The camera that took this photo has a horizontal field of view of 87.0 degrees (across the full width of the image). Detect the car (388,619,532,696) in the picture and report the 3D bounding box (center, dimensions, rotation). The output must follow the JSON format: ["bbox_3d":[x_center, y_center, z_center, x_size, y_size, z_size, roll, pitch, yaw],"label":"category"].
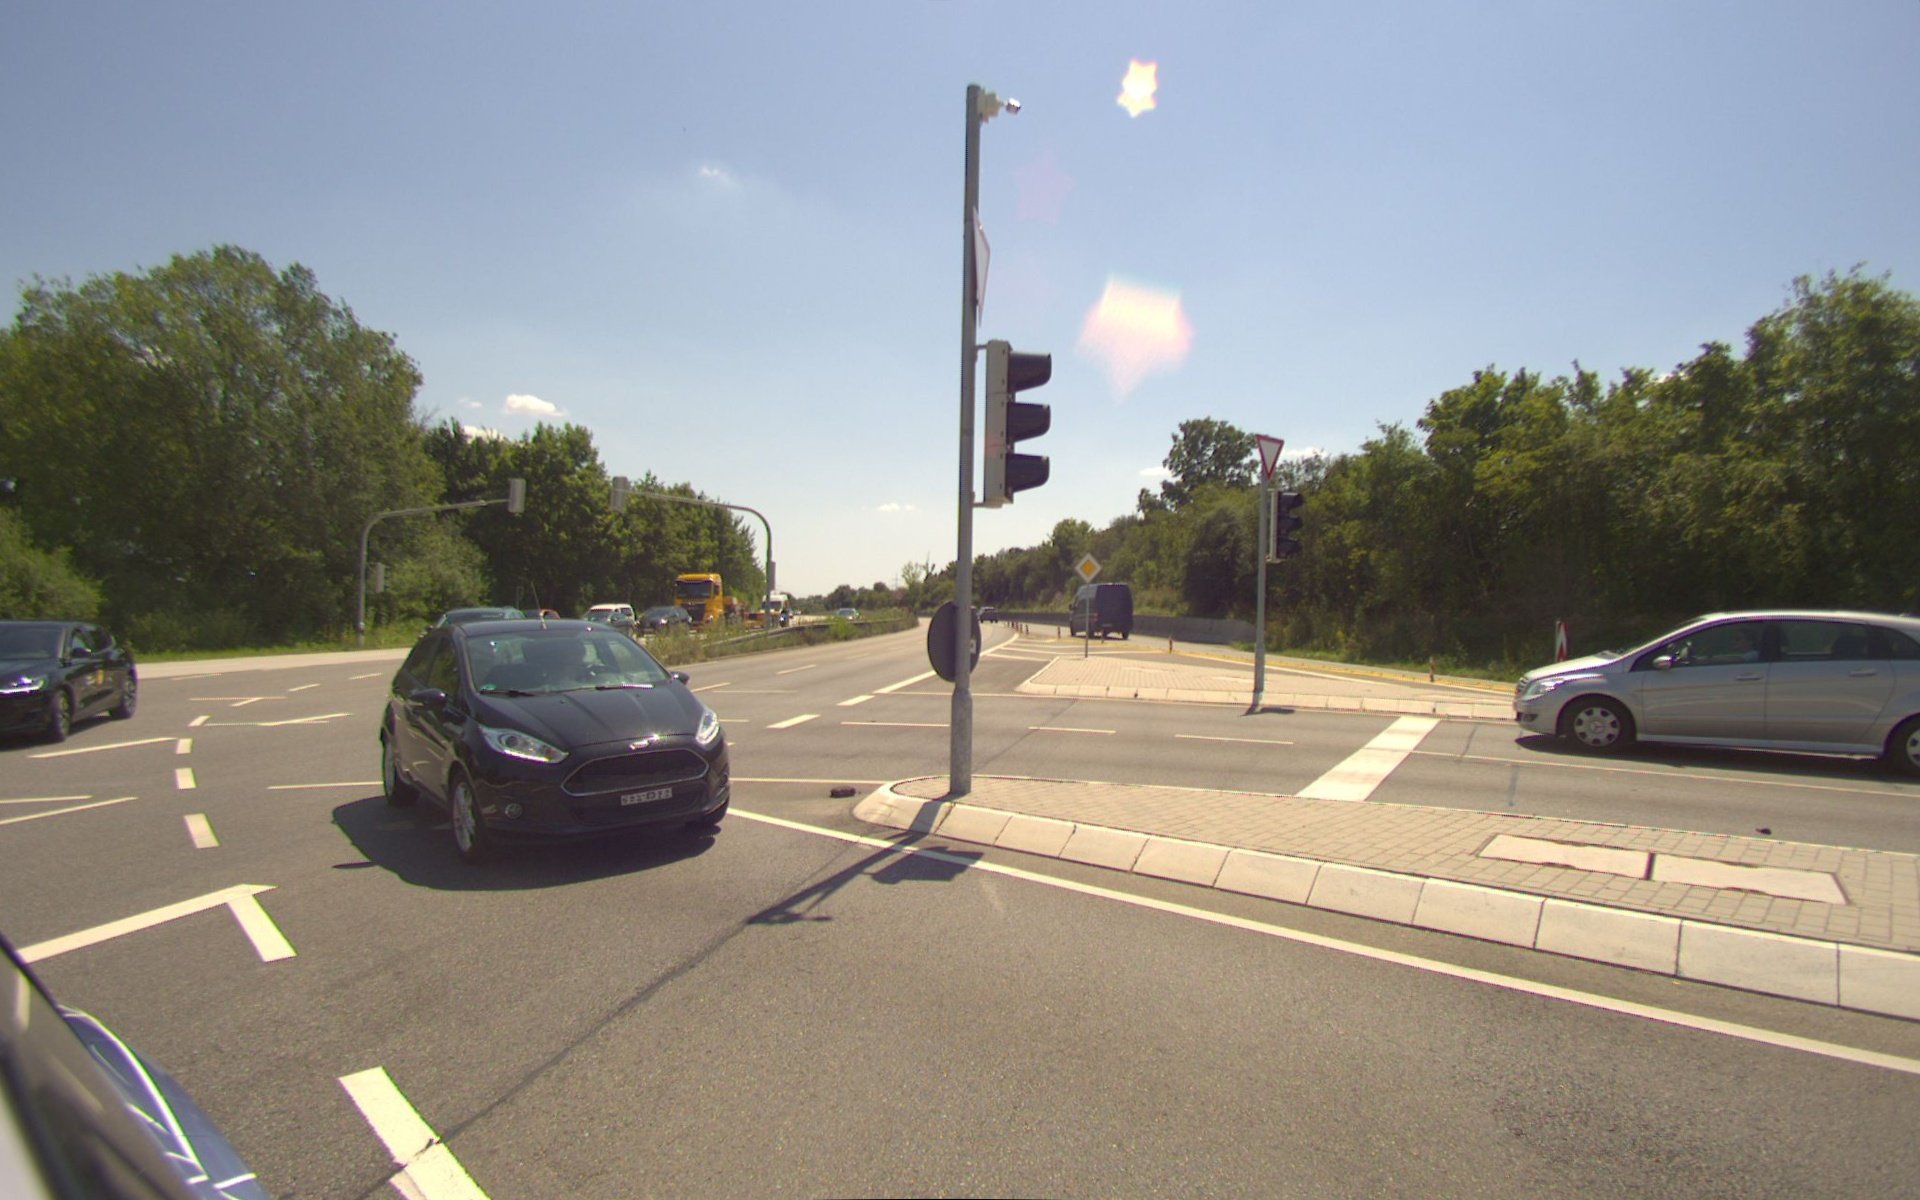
[{"bbox_3d":[-10.728,1.172,22.028,1.680,1.475,4.007,0,0,-9],"label":"car"}]

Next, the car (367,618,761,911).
[{"bbox_3d":[-3.102,0.898,7.380,1.602,1.496,4.008,0,-1,-38],"label":"car"}]

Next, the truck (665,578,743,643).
[{"bbox_3d":[-16.013,0.659,63.857,2.982,3.801,7.467,-1,-1,1],"label":"truck"}]

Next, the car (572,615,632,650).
[{"bbox_3d":[-20.050,1.784,56.855,1.748,1.821,4.794,-1,0,-1],"label":"car"}]

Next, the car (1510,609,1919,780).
[{"bbox_3d":[8.425,0.906,10.891,4.315,1.607,1.757,0,-1,32],"label":"car"}]

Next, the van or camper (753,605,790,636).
[{"bbox_3d":[-16.065,1.709,86.374,2.041,2.593,5.907,-1,0,0],"label":"van or camper"}]

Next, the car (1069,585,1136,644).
[{"bbox_3d":[6.976,0.689,50.220,2.035,2.725,5.902,0,0,-4],"label":"car"}]

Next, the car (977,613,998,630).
[{"bbox_3d":[2.840,2.275,106.764,1.971,1.705,4.658,0,-1,-1],"label":"car"}]

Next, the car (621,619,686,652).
[{"bbox_3d":[-16.362,1.870,54.262,1.767,1.652,4.641,-1,0,4],"label":"car"}]

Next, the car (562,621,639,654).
[{"bbox_3d":[-16.860,1.721,47.688,1.750,1.421,4.604,-1,0,4],"label":"car"}]

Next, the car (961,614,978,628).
[{"bbox_3d":[1.225,2.687,129.321,1.971,1.786,4.860,0,-1,-2],"label":"car"}]

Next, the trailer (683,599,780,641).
[{"bbox_3d":[-15.919,1.413,72.199,2.995,2.613,16.351,-1,-1,1],"label":"trailer"}]

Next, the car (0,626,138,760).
[{"bbox_3d":[-12.068,1.074,12.815,1.702,1.450,4.317,0,-1,-27],"label":"car"}]

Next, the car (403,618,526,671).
[{"bbox_3d":[-15.148,1.328,31.193,1.865,1.475,4.000,-1,0,0],"label":"car"}]
